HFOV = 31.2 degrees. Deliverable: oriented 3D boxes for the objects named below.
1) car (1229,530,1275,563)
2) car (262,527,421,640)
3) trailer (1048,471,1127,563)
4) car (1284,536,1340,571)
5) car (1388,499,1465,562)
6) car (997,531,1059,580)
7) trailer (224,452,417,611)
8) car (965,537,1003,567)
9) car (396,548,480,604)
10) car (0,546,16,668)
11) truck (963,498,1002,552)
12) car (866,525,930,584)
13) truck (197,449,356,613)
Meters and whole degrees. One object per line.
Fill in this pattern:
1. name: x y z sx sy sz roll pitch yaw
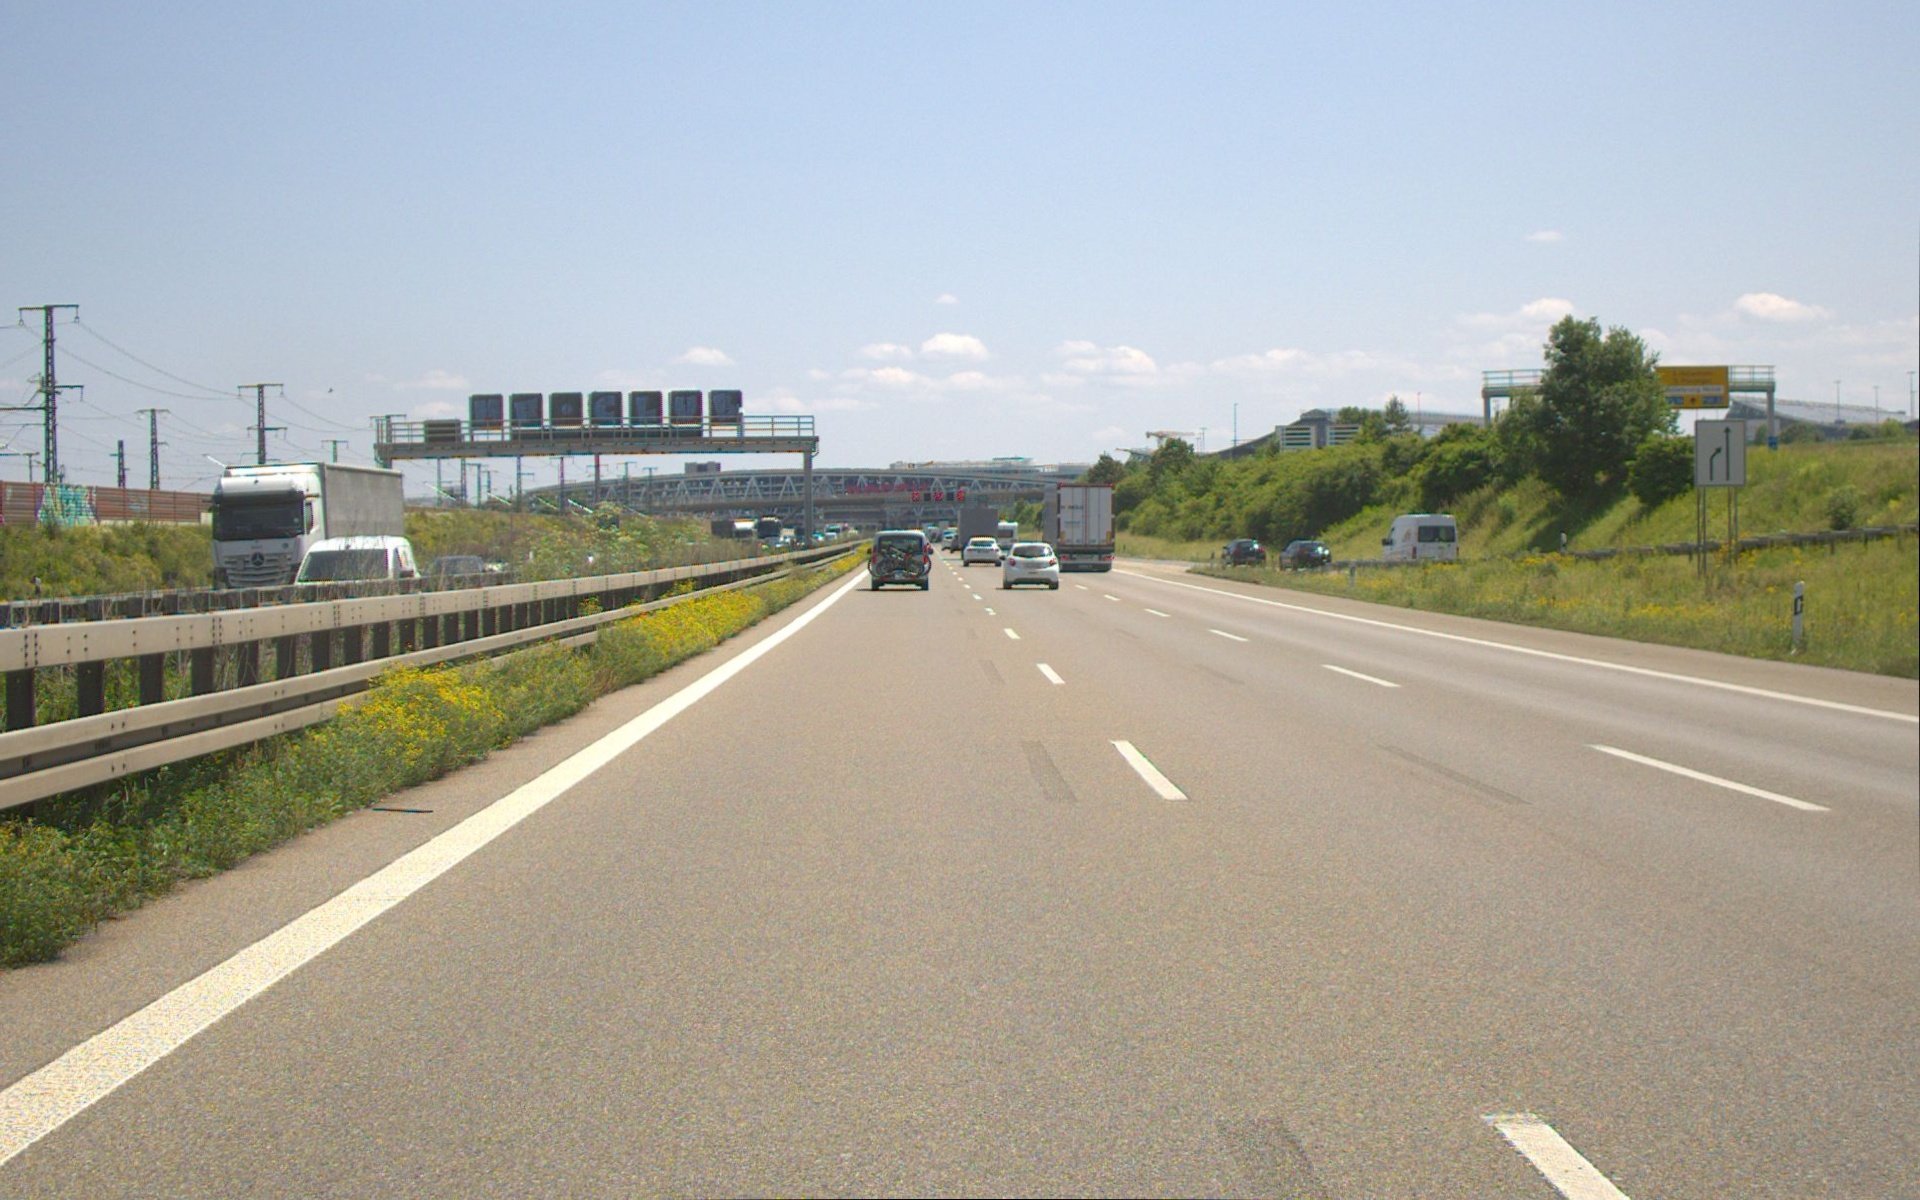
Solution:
1. car: 15.284 -2.800 180.028 1.993 1.590 4.000 1 0 -1
2. car: -10.125 -0.307 56.599 1.816 1.779 4.538 0 1 0
3. trailer: 5.831 -3.823 158.276 3.177 4.045 9.440 -1 1 0
4. car: 16.384 -2.145 160.203 1.993 1.503 4.000 1 0 -3
5. car: 18.993 -2.851 140.226 2.274 2.519 5.400 0 1 -2
6. car: 2.182 -1.409 109.051 1.881 1.521 4.000 1 0 2
7. trailer: -17.627 -1.899 95.818 2.730 4.060 13.530 -1 1 0
8. car: 1.233 -2.441 175.676 1.881 1.521 4.000 1 0 0
9. car: -13.912 -0.659 91.847 1.644 1.456 3.836 0 1 0
10. car: -13.814 0.118 44.822 1.816 1.641 4.362 0 1 0
11. truck: 1.423 -4.771 218.127 2.355 3.404 6.057 0 1 0
12. car: -1.888 -1.380 105.720 1.881 1.769 4.000 -1 0 0
13. truck: -17.651 -1.791 89.159 2.730 4.058 6.381 -1 1 0
